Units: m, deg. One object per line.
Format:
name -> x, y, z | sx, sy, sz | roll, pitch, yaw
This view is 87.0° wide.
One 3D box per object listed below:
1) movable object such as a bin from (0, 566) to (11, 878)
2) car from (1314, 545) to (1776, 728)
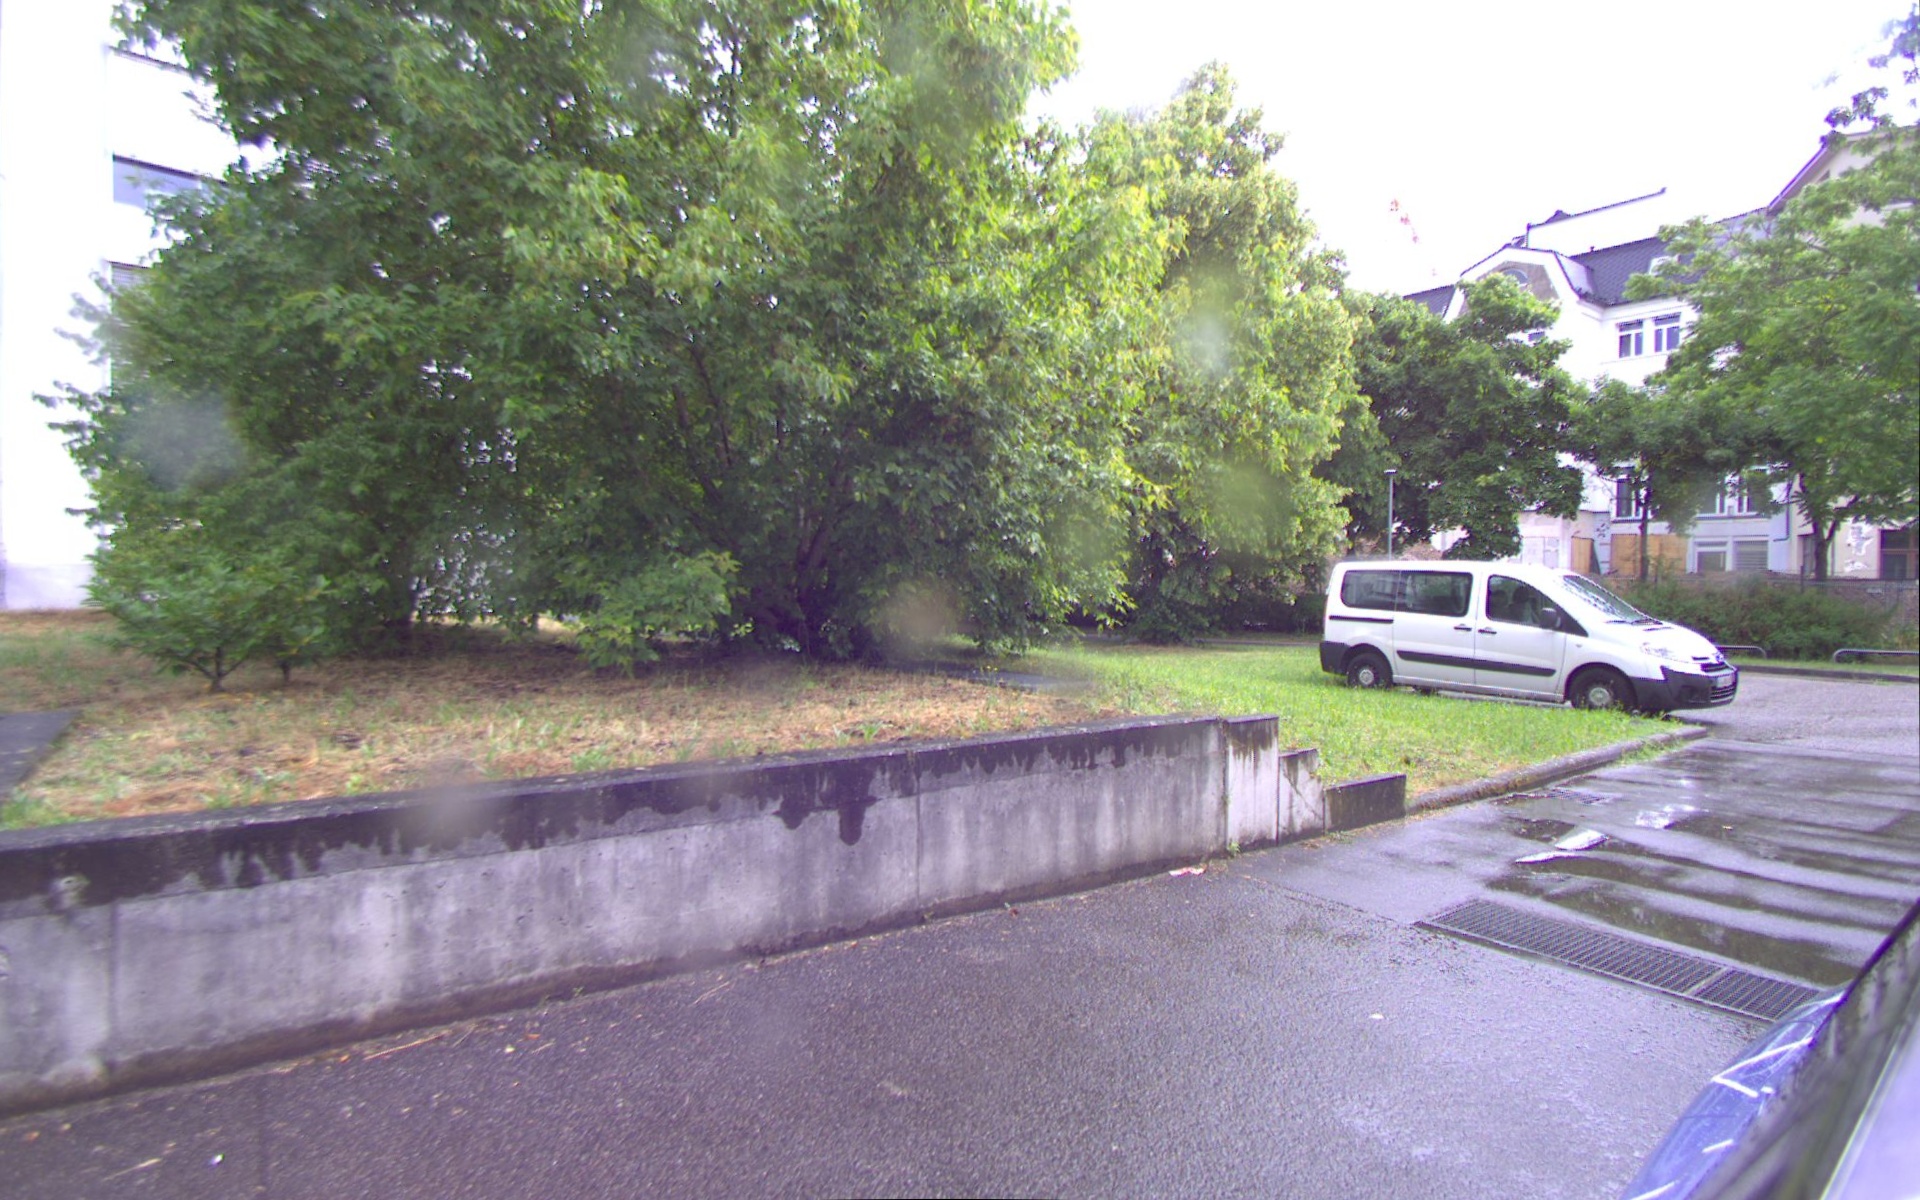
movable object such as a bin -> -4.412, 0.553, 3.722 | 1.174, 1.353, 1.297 | 0, 2, -36
car -> 7.403, 0.348, 13.362 | 2.060, 1.950, 4.889 | -1, 1, -35
